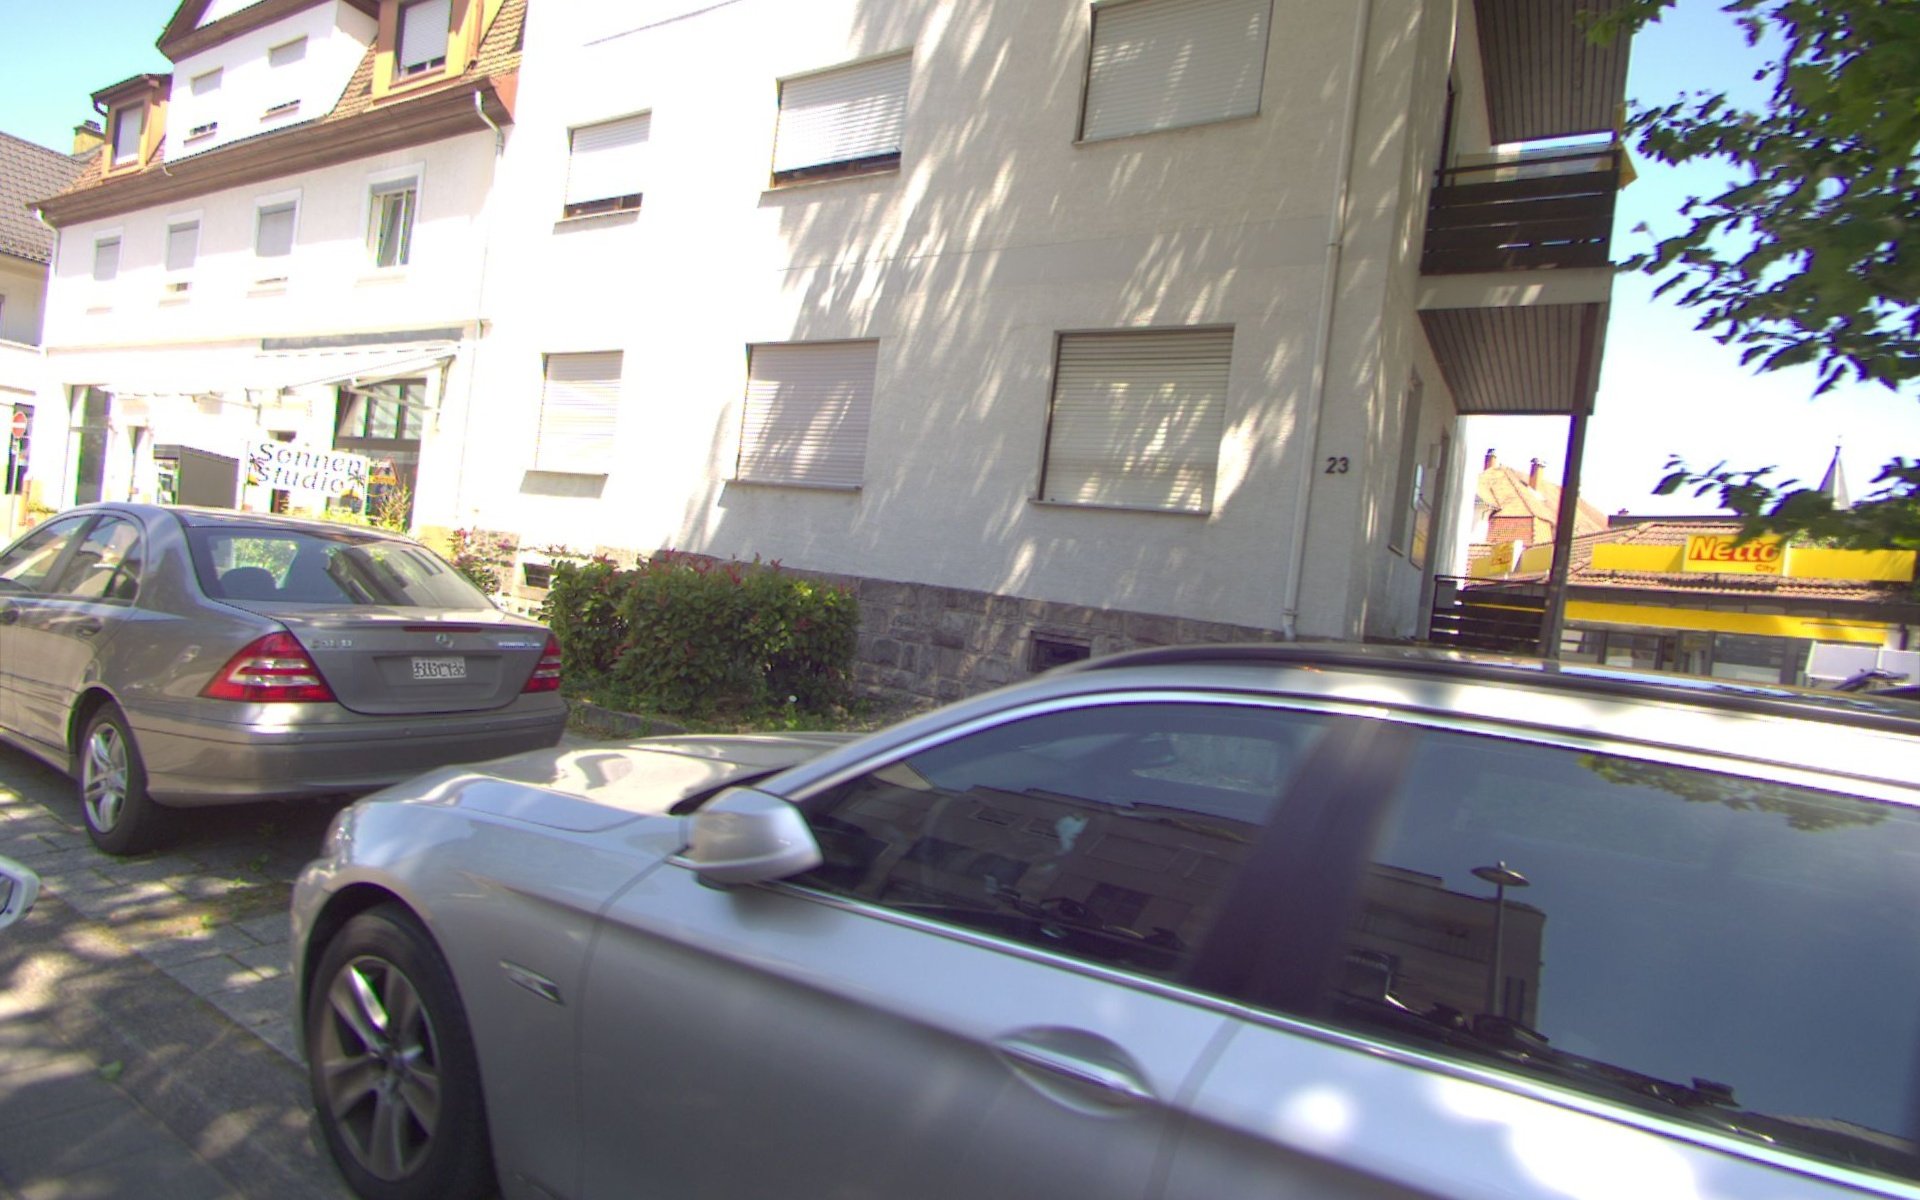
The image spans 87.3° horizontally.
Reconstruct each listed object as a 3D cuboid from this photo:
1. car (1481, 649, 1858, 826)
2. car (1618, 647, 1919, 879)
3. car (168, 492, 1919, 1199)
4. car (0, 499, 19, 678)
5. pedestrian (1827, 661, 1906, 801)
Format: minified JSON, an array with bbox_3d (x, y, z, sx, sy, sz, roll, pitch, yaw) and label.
[{"bbox_3d":[9.151,1.672,13.140,3.706,1.556,1.833,7,0,43],"label":"car"},{"bbox_3d":[8.034,1.432,8.271,4.044,1.562,1.681,7,0,44],"label":"car"},{"bbox_3d":[0.435,0.745,2.177,4.681,1.530,1.830,6,1,32],"label":"car"},{"bbox_3d":[-9.410,-0.310,8.142,4.104,1.358,1.558,7,1,32],"label":"car"},{"bbox_3d":[10.309,1.472,11.449,0.508,1.487,0.602,7,1,43],"label":"pedestrian"}]
